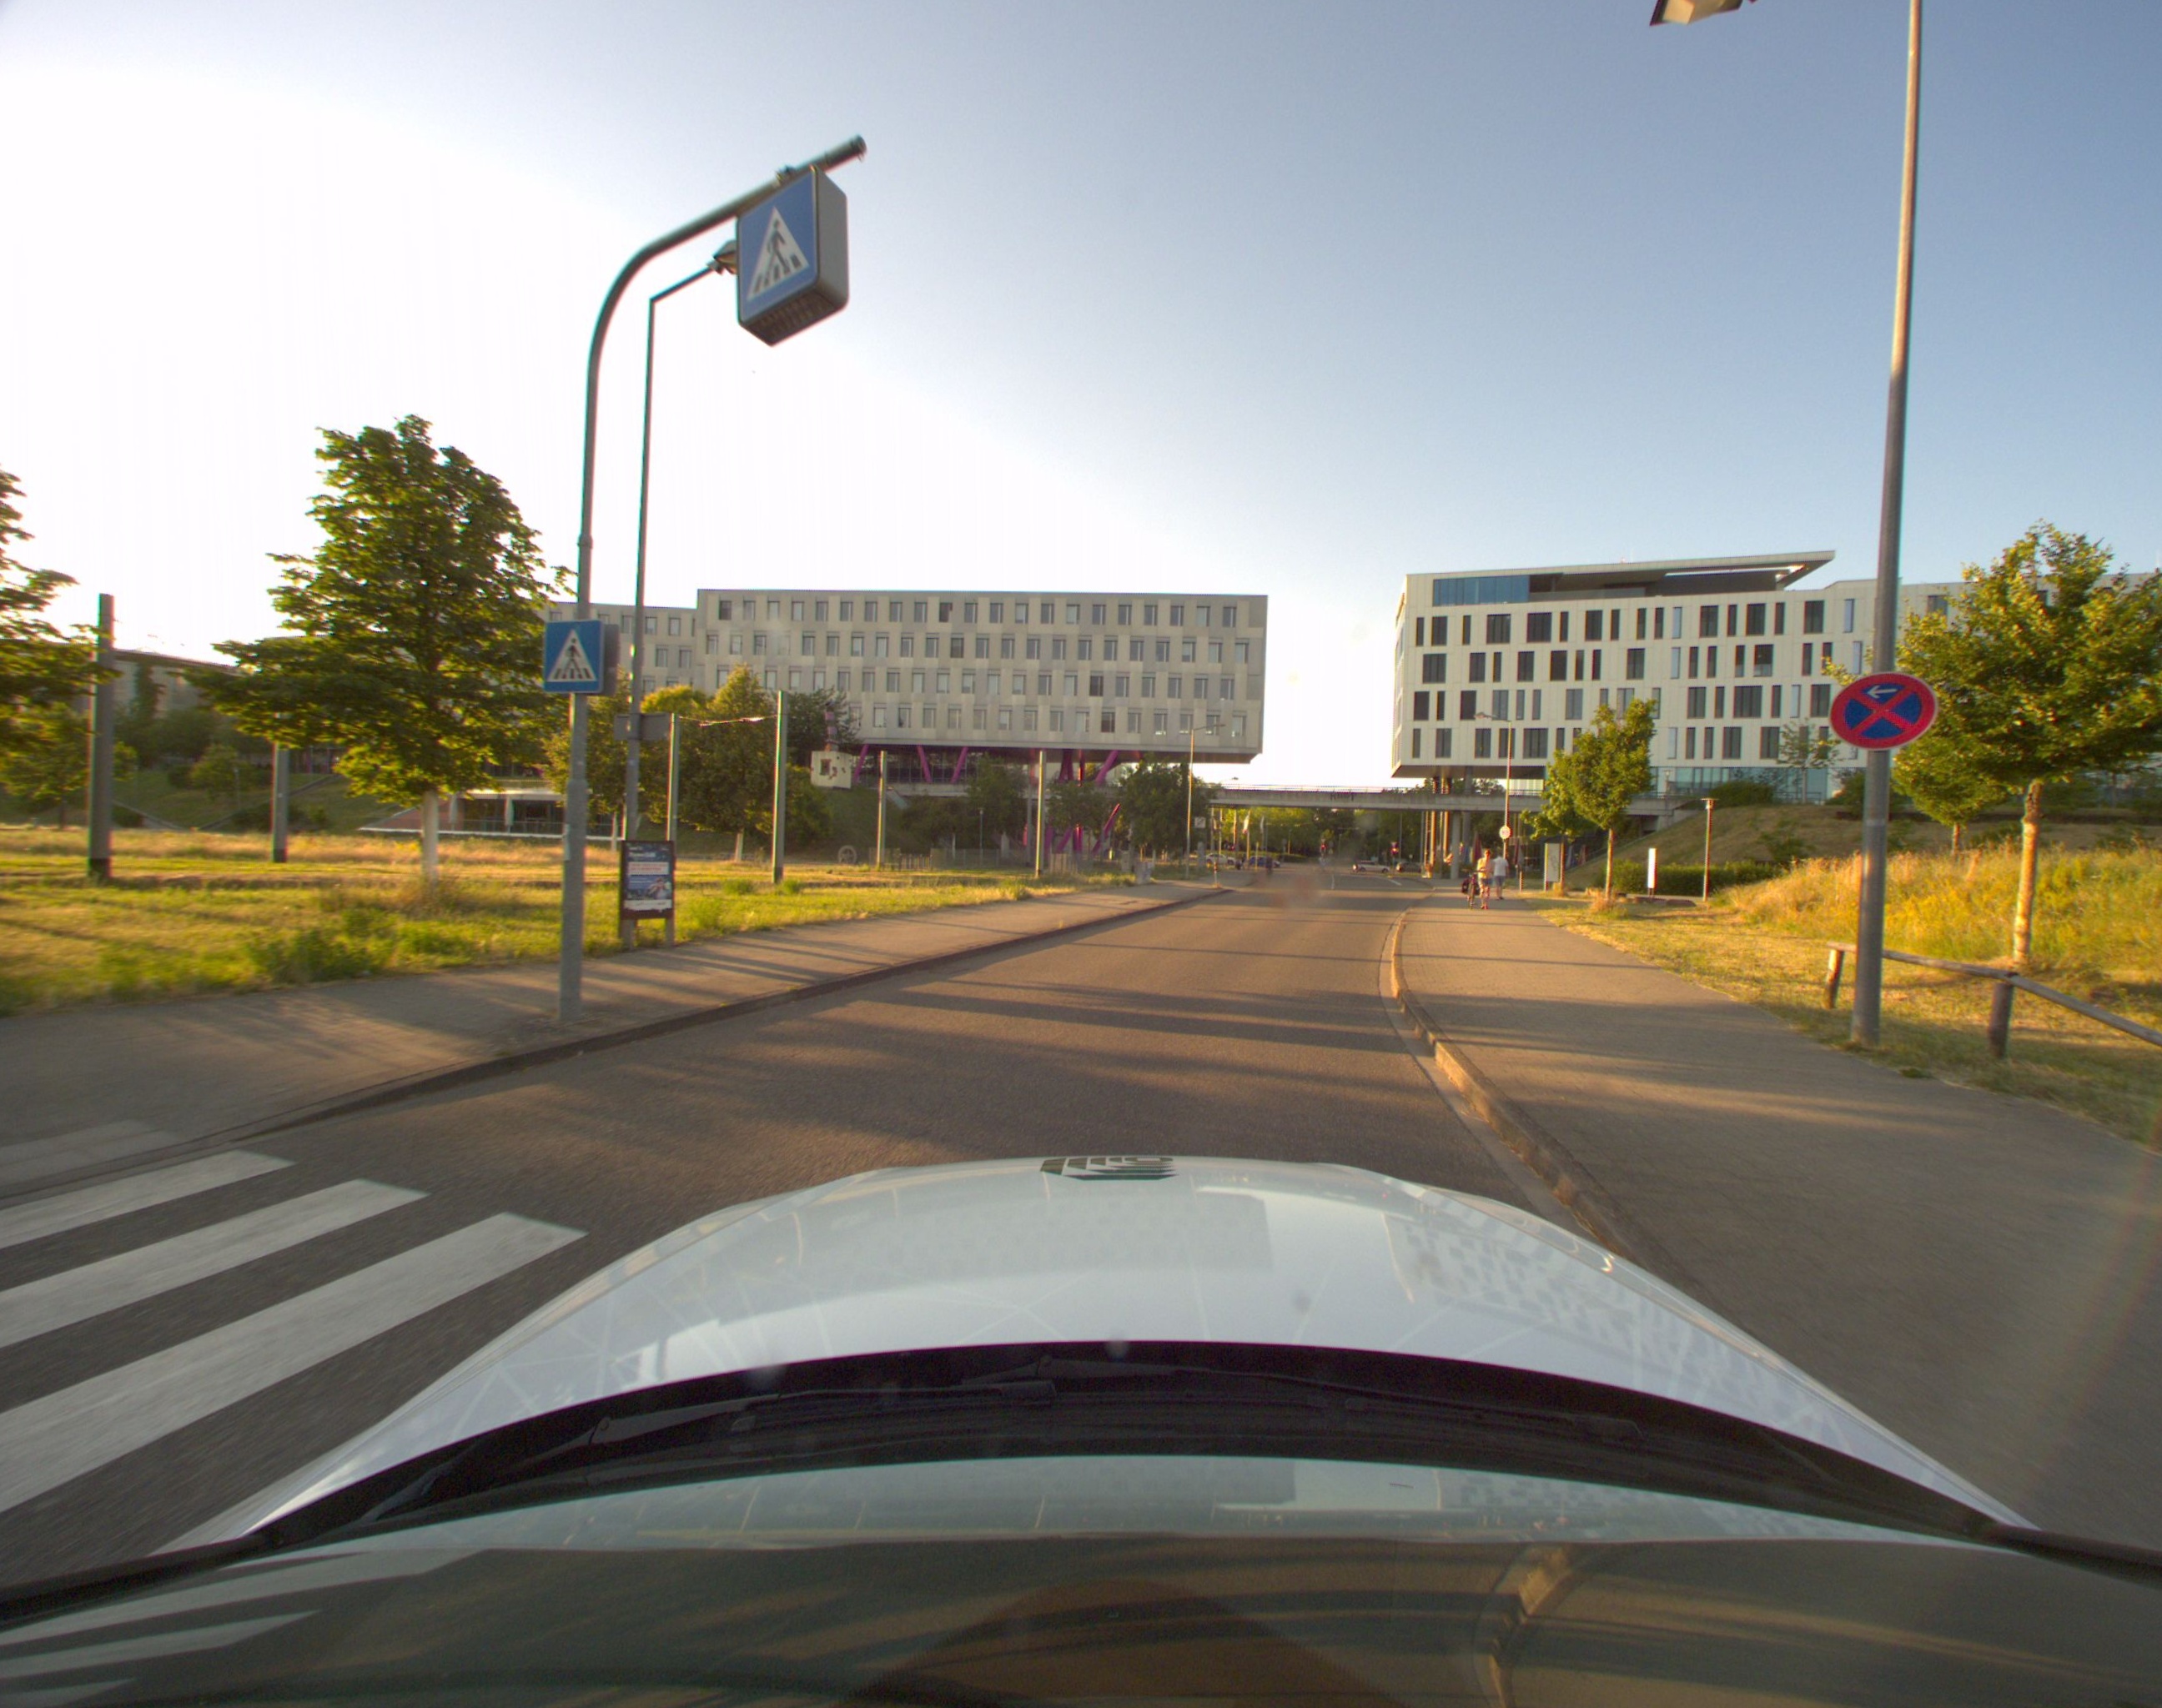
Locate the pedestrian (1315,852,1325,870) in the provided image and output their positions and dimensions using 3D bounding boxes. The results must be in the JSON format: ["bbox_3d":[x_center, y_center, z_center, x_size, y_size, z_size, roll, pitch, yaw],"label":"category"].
[{"bbox_3d":[27.699,0.813,94.335,0.903,1.990,0.774,2,1,9],"label":"pedestrian"}]

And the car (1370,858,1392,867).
[{"bbox_3d":[71.440,1.978,194.081,4.643,1.869,2.024,3,1,24],"label":"car"}]

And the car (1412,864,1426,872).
[{"bbox_3d":[72.057,2.874,173.443,1.483,1.606,3.423,3,2,44],"label":"car"}]

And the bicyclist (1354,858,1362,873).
[{"bbox_3d":[31.734,1.343,93.238,0.761,1.704,0.514,2,1,10],"label":"bicyclist"}]

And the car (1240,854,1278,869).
[{"bbox_3d":[23.309,0.980,106.809,4.686,1.828,1.897,2,1,8],"label":"car"}]

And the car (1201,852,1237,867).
[{"bbox_3d":[18.879,0.730,111.430,4.649,1.828,1.844,2,1,18],"label":"car"}]

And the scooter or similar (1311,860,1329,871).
[{"bbox_3d":[27.693,1.345,94.336,1.849,1.173,0.766,2,1,9],"label":"scooter or similar"}]

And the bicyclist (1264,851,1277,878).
[{"bbox_3d":[11.965,0.644,51.353,0.609,1.662,1.042,2,1,23],"label":"bicyclist"}]

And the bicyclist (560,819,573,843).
[{"bbox_3d":[-32.371,-1.442,51.250,0.508,1.494,0.426,2,1,19],"label":"bicyclist"}]

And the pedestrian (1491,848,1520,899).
[{"bbox_3d":[15.399,0.696,29.582,0.824,1.766,0.822,2,1,25],"label":"pedestrian"}]

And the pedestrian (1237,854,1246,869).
[{"bbox_3d":[18.769,0.874,95.175,0.693,1.663,0.716,3,1,35],"label":"pedestrian"}]

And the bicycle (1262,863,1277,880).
[{"bbox_3d":[11.897,1.096,51.396,0.534,1.043,1.935,2,2,23],"label":"bicycle"}]

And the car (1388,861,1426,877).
[{"bbox_3d":[42.252,1.918,105.664,4.378,1.799,1.844,2,1,18],"label":"car"}]

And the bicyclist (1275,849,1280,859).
[{"bbox_3d":[35.053,-0.039,145.420,0.756,1.722,0.551,2,1,-8],"label":"bicyclist"}]

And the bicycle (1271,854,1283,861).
[{"bbox_3d":[34.984,0.629,145.436,1.961,1.128,0.559,2,1,-8],"label":"bicycle"}]

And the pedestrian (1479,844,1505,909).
[{"bbox_3d":[11.890,0.629,23.562,0.589,1.801,0.822,2,1,25],"label":"pedestrian"}]

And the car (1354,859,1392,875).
[{"bbox_3d":[37.319,1.659,104.116,4.380,1.724,1.843,2,1,16],"label":"car"}]

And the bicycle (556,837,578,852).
[{"bbox_3d":[-32.335,-0.617,51.238,1.222,0.900,0.433,2,1,18],"label":"bicycle"}]

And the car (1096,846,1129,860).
[{"bbox_3d":[4.687,-0.122,121.092,4.433,1.816,1.954,2,1,16],"label":"car"}]

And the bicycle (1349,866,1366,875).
[{"bbox_3d":[31.654,1.847,93.258,1.683,0.948,0.513,2,1,10],"label":"bicycle"}]

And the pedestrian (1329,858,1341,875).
[{"bbox_3d":[28.558,1.353,91.446,1.049,1.833,0.896,2,1,4],"label":"pedestrian"}]

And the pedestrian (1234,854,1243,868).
[{"bbox_3d":[18.247,0.842,94.459,0.679,1.624,0.716,3,1,35],"label":"pedestrian"}]

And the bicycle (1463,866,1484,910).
[{"bbox_3d":[11.393,0.969,23.688,0.446,1.168,1.952,2,1,24],"label":"bicycle"}]
